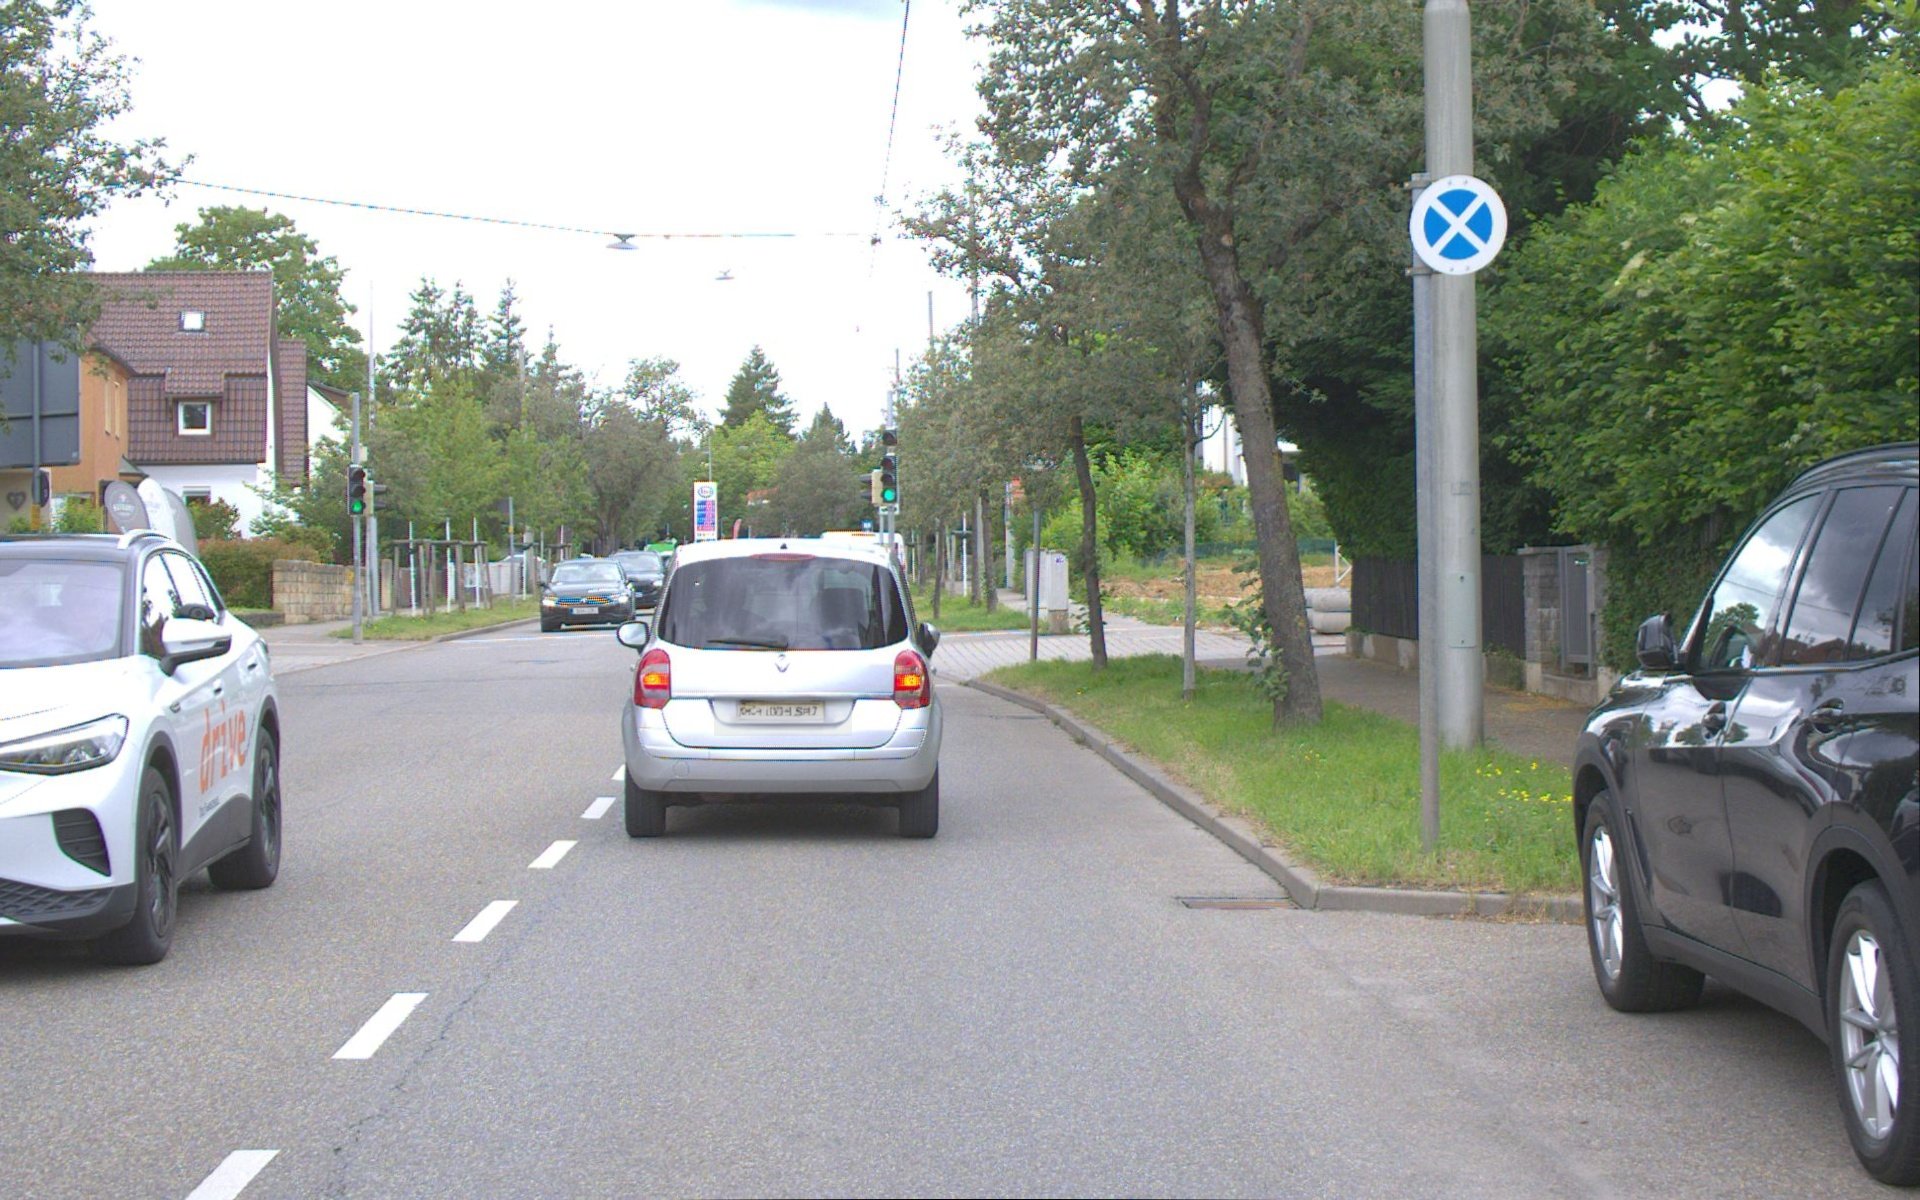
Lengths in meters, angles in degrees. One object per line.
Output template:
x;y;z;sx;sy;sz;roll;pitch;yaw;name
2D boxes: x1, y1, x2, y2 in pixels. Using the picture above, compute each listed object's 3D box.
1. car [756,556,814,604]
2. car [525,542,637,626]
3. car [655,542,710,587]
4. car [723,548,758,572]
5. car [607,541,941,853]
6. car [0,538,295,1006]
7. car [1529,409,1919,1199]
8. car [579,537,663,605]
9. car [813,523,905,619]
-6.515;-0.761;127.929;1.835;1.708;4.001;-2;1;-7;car
-7.718;-0.360;70.340;1.993;1.615;4.648;-1;1;-3;car
-9.377;-1.207;116.325;1.616;1.467;4.000;-1;1;-1;car
-13.849;-2.520;216.673;1.695;1.501;3.974;-1;1;-11;car
-1.013;0.463;19.085;1.679;1.554;3.512;0;1;-2;car
-3.916;0.566;13.920;1.821;1.598;4.299;-1;1;-3;car
2.978;0.434;9.470;1.898;1.831;4.915;-2;1;-1;car
-8.488;-0.749;86.401;1.895;1.619;4.001;-1;1;-3;car
-2.156;-0.636;72.025;1.775;1.937;4.789;0;1;-3;car
